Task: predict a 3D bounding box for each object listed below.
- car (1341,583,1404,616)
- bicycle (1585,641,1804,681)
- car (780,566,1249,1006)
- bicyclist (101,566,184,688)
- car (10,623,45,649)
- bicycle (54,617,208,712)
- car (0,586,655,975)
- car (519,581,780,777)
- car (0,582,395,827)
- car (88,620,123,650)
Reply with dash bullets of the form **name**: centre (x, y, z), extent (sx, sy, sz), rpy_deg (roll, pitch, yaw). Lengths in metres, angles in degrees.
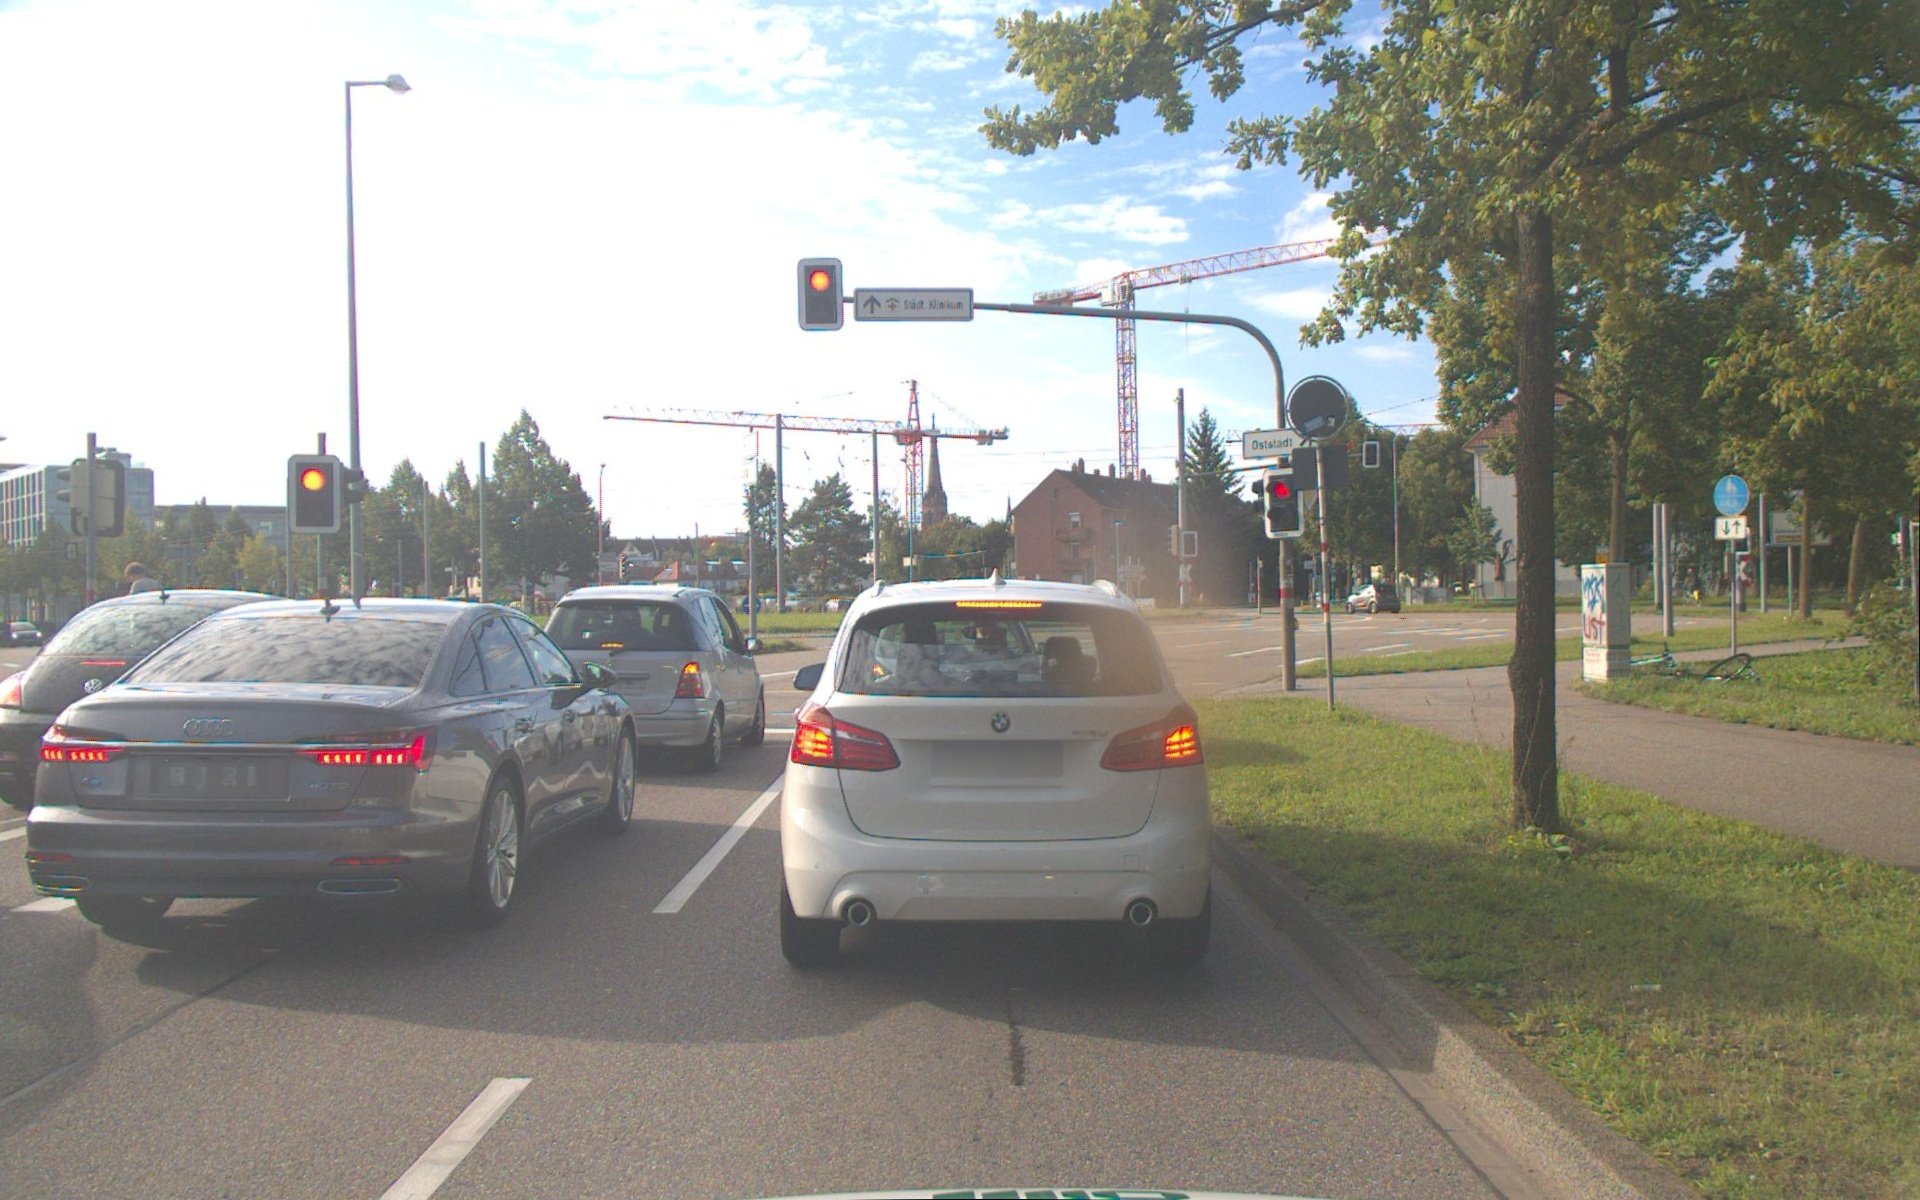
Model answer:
- **car**: centre (21.592, -0.013, 86.665), extent (1.549, 1.601, 3.174), rpy_deg (-4, 1, -24)
- **bicycle**: centre (9.490, 0.782, 21.542), extent (1.382, 0.392, 2.569), rpy_deg (-1, 0, -12)
- **car**: centre (0.167, 0.668, 8.017), extent (1.694, 1.585, 4.057), rpy_deg (0, 0, -1)
- **bicyclist**: centre (-10.705, 0.348, 21.683), extent (0.835, 1.553, 0.737), rpy_deg (-1, 0, -17)
- **car**: centre (-53.957, 2.077, 95.741), extent (1.574, 1.440, 3.636), rpy_deg (-1, 0, -28)
- **bicycle**: centre (-10.820, 0.824, 21.642), extent (1.698, 1.184, 0.653), rpy_deg (-1, 0, -17)
- **car**: centre (-2.936, 0.715, 8.754), extent (1.851, 1.509, 4.612), rpy_deg (0, 0, -1)
- **car**: centre (-2.746, 0.634, 15.471), extent (1.694, 1.585, 4.057), rpy_deg (0, 0, -1)
- **car**: centre (-5.688, 0.664, 12.403), extent (1.646, 1.549, 3.809), rpy_deg (0, 0, -1)
- **car**: centre (-46.571, 1.905, 90.194), extent (1.596, 1.490, 3.699), rpy_deg (-1, 1, -26)
